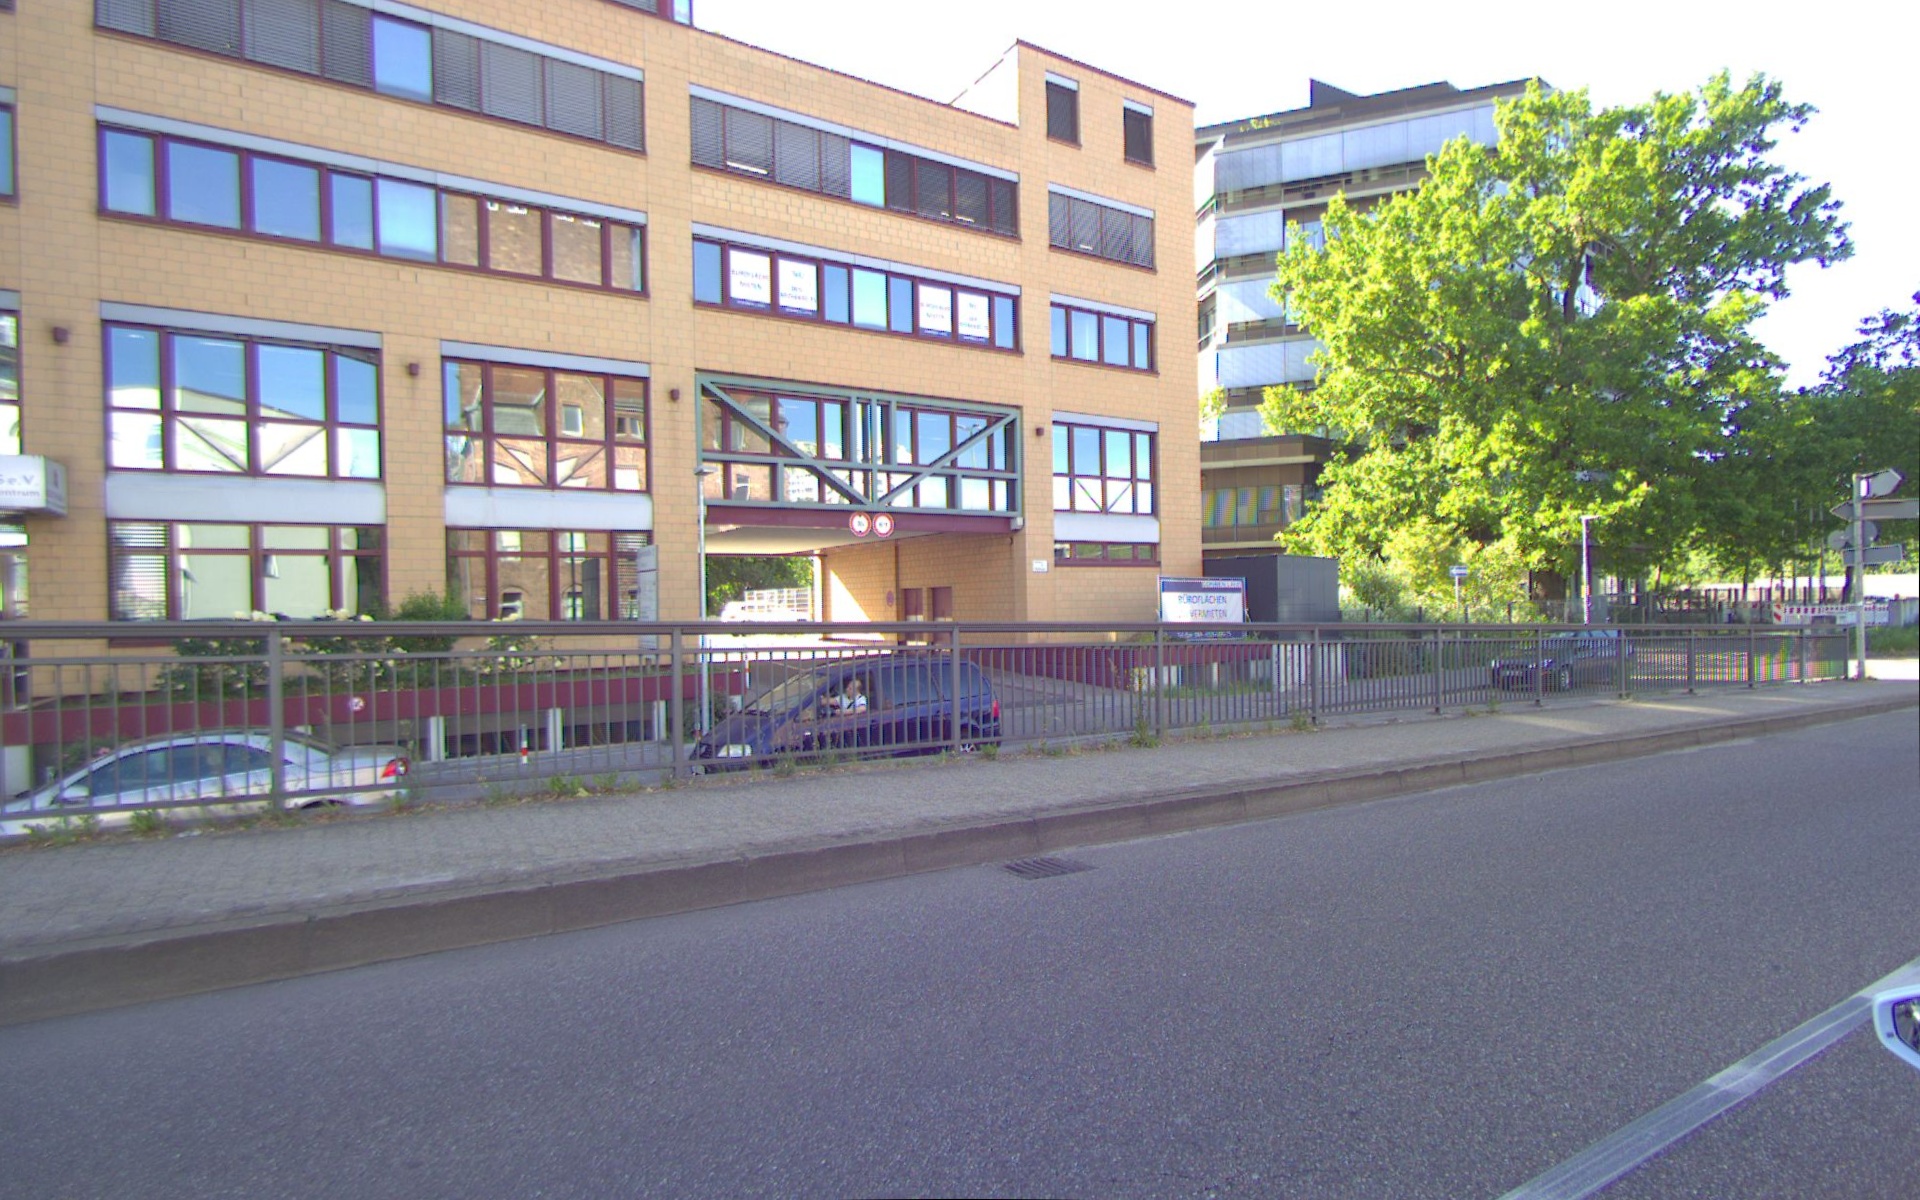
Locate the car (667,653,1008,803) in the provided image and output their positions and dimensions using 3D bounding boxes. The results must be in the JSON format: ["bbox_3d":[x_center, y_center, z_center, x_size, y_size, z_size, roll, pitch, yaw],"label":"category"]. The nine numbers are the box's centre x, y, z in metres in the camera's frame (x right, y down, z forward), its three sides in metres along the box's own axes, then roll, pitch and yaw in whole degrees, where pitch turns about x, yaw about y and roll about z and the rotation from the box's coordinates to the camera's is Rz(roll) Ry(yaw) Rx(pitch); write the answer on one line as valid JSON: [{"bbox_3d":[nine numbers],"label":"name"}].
[{"bbox_3d":[-1.628,1.655,14.213,4.542,1.669,1.710,0,-2,-36],"label":"car"}]

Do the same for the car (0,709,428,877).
[{"bbox_3d":[-7.880,1.879,10.274,4.210,1.181,1.712,0,-2,-32],"label":"car"}]

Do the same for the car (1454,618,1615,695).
[{"bbox_3d":[14.564,1.371,25.433,3.953,1.715,1.842,-1,0,-31],"label":"car"}]

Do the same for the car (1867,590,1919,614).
[{"bbox_3d":[65.016,0.140,68.814,1.853,1.651,4.412,-1,-1,2],"label":"car"}]
